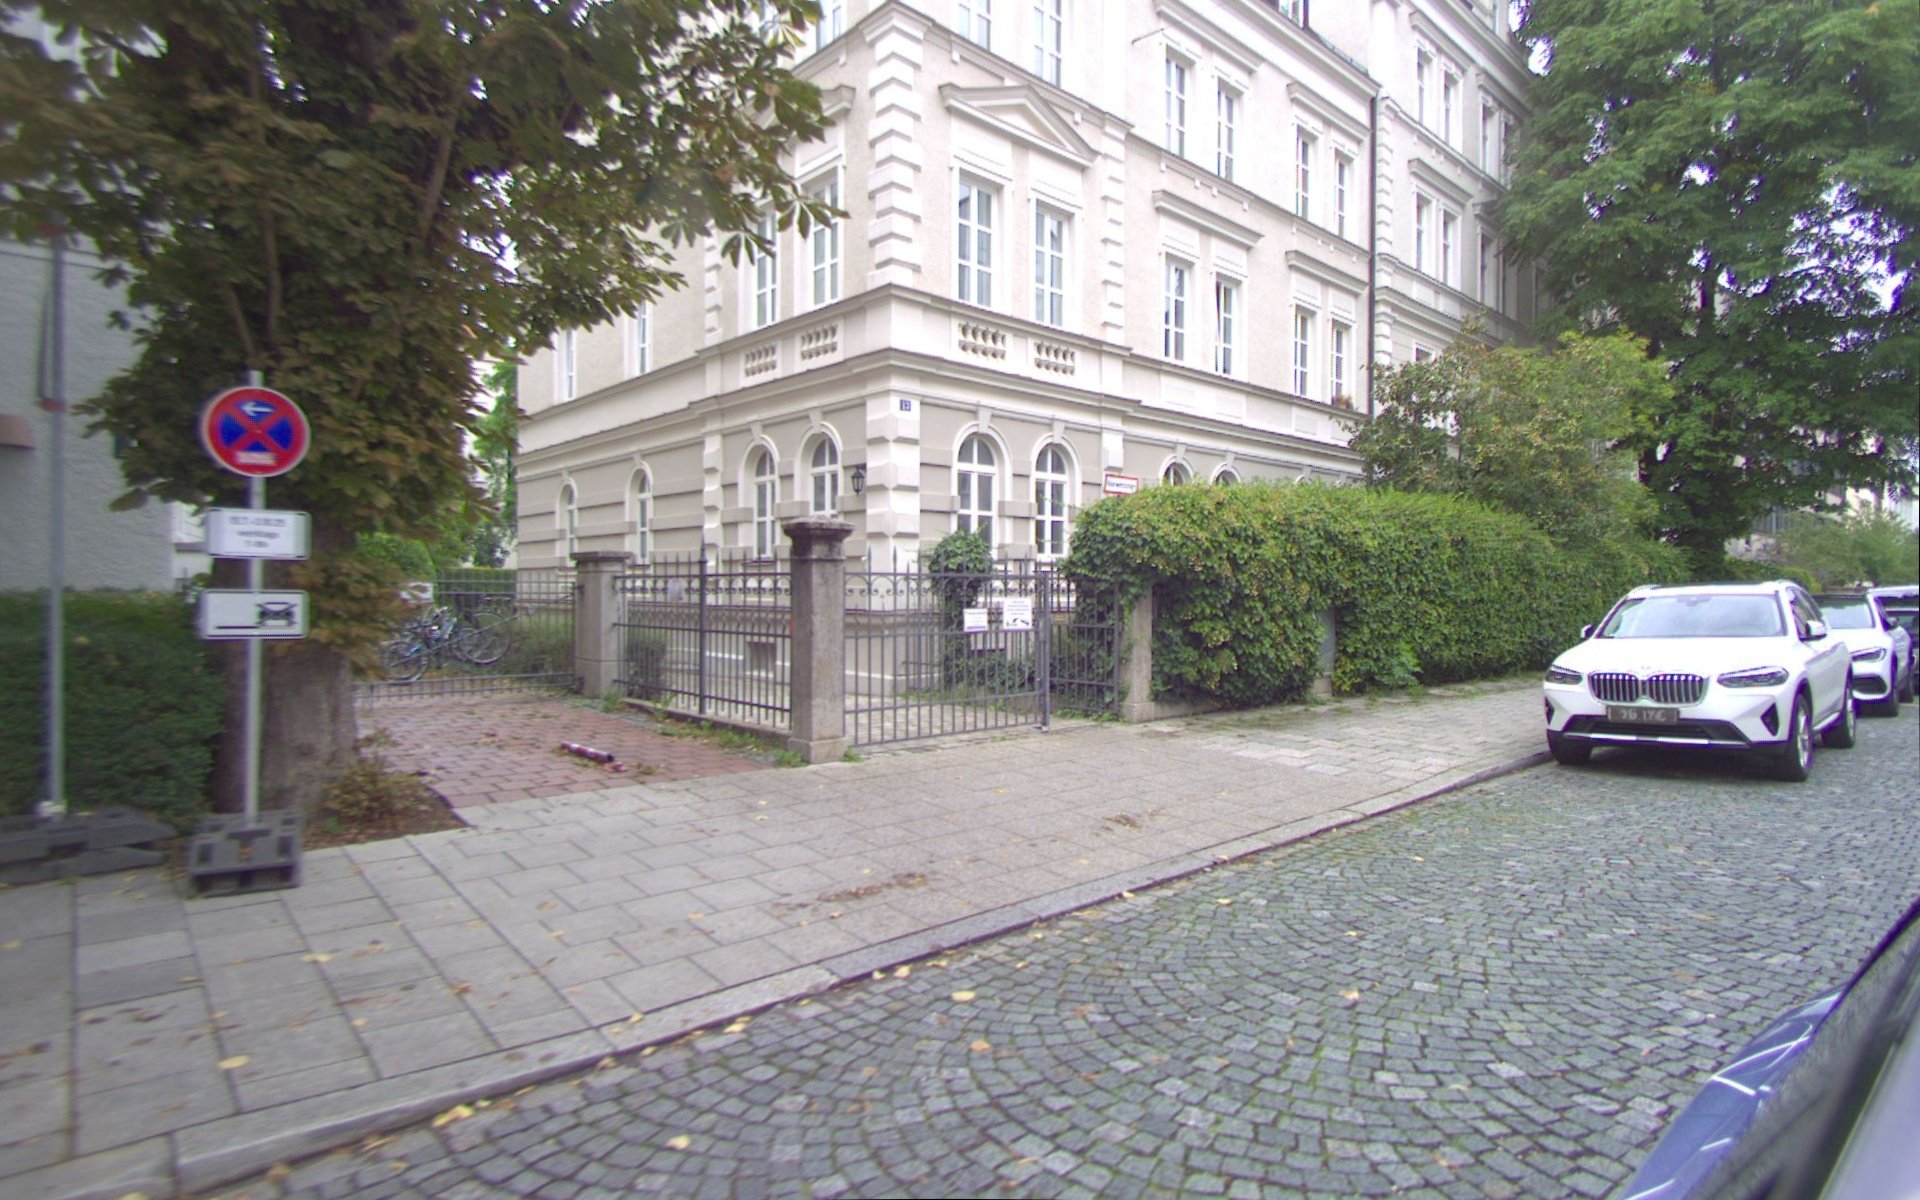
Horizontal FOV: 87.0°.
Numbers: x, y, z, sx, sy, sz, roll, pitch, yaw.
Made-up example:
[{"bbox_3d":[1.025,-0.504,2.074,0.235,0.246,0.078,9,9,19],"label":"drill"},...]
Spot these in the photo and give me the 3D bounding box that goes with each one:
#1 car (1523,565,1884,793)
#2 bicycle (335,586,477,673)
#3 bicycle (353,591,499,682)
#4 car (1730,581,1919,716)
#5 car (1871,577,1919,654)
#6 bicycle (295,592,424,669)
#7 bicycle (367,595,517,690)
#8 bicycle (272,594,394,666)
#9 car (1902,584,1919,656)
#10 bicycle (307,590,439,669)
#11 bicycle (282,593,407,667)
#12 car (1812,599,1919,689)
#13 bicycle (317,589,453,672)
[{"bbox_3d":[7.350,0.538,9.814,4.554,1.706,1.923,-1,1,-42],"label":"car"},{"bbox_3d":[-7.537,0.371,13.826,0.420,1.115,1.648,0,0,43],"label":"bicycle"},{"bbox_3d":[-6.978,0.449,13.278,0.420,1.115,1.648,0,0,43],"label":"bicycle"},{"bbox_3d":[12.391,0.549,14.249,4.397,1.620,1.749,-1,1,-43],"label":"car"},{"bbox_3d":[24.949,0.346,25.992,4.728,1.843,1.815,-1,-3,-43],"label":"car"},{"bbox_3d":[-9.214,0.448,15.577,0.420,1.115,1.648,0,0,43],"label":"bicycle"},{"bbox_3d":[-6.517,0.505,12.797,0.420,1.115,1.648,0,0,43],"label":"bicycle"},{"bbox_3d":[-10.244,0.461,16.566,0.420,1.115,1.648,0,0,43],"label":"bicycle"},{"bbox_3d":[29.255,0.558,29.700,3.931,2.039,1.996,-1,0,-42],"label":"car"},{"bbox_3d":[-8.690,0.407,15.040,0.420,1.115,1.648,0,0,43],"label":"bicycle"},{"bbox_3d":[-9.762,0.454,16.103,0.420,1.115,1.648,0,0,43],"label":"bicycle"},{"bbox_3d":[16.303,0.678,17.431,4.728,1.314,1.921,-1,1,-43],"label":"car"},{"bbox_3d":[-8.219,0.412,14.513,0.420,1.115,1.648,0,0,43],"label":"bicycle"}]
